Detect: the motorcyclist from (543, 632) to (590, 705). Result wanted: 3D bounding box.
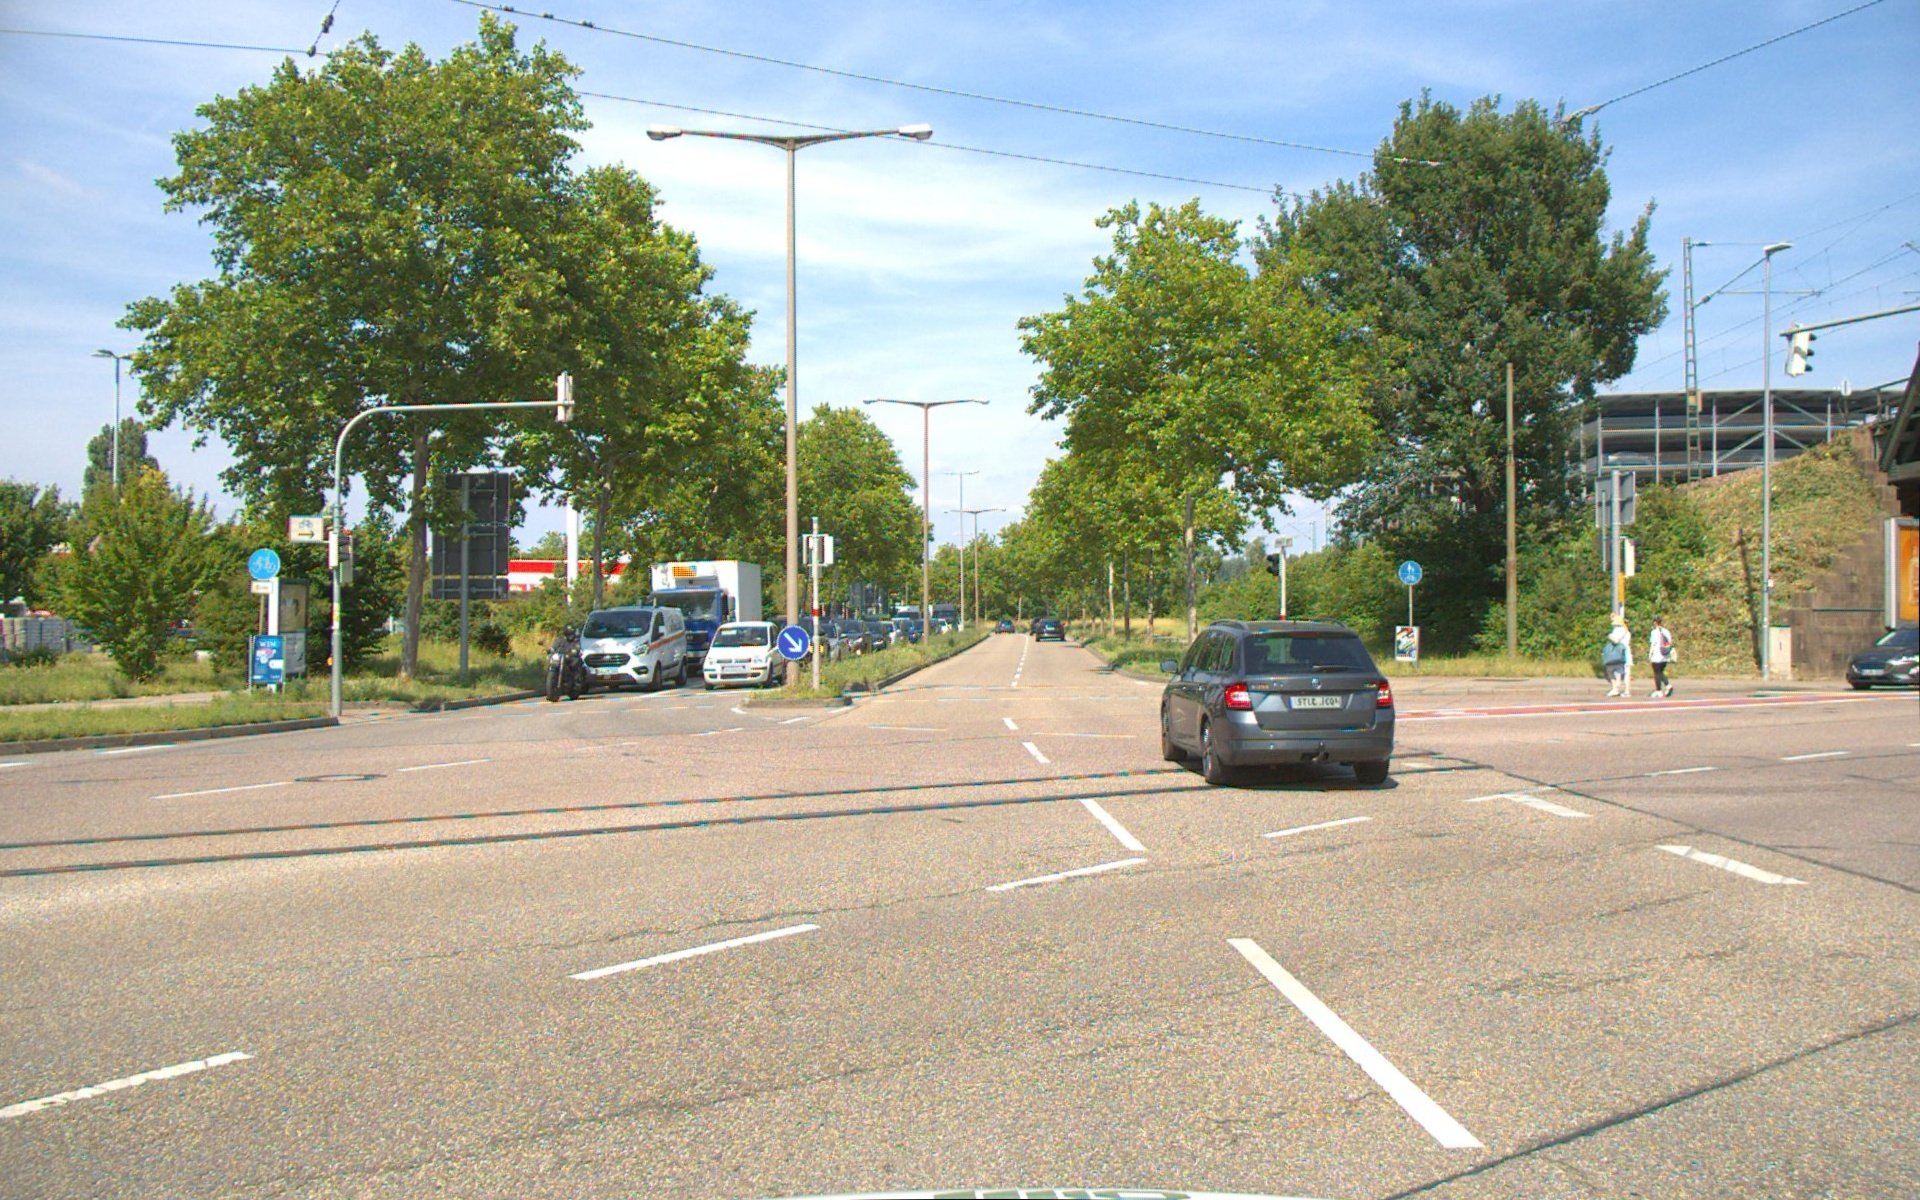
[{"bbox_3d":[-8.259,1.420,34.752,0.727,1.496,0.988,0,-1,2],"label":"motorcyclist"}]

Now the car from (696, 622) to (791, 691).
[{"bbox_3d":[-5.048,1.293,38.953,1.559,1.503,3.730,-1,0,2],"label":"car"}]

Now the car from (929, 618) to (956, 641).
[{"bbox_3d":[-1.220,2.075,118.004,1.654,1.537,3.815,-1,0,2],"label":"car"}]

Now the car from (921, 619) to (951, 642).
[{"bbox_3d":[-1.607,2.036,111.552,1.746,1.484,4.473,-1,0,2],"label":"car"}]

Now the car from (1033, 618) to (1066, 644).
[{"bbox_3d":[5.527,1.894,102.476,1.868,1.489,4.622,0,0,1],"label":"car"}]

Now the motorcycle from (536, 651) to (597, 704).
[{"bbox_3d":[-8.229,1.607,34.662,0.673,1.009,2.218,0,0,2],"label":"motorcycle"}]

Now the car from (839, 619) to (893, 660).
[{"bbox_3d":[-3.691,1.552,65.652,1.654,1.499,4.219,-2,-1,2],"label":"car"}]

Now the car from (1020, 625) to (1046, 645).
[{"bbox_3d":[5.960,2.866,136.043,1.869,1.489,4.581,0,0,-1],"label":"car"}]

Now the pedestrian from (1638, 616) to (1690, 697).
[{"bbox_3d":[14.181,1.123,33.325,0.714,1.607,0.778,0,-1,2],"label":"pedestrian"}]

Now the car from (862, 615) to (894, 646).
[{"bbox_3d":[-5.209,1.962,105.210,1.654,1.891,4.037,-1,-1,2],"label":"car"}]

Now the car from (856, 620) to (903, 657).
[{"bbox_3d":[-3.430,1.645,71.283,1.654,1.497,3.815,-1,0,2],"label":"car"}]

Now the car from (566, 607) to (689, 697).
[{"bbox_3d":[-7.905,1.190,39.824,1.936,2.034,5.031,0,0,0],"label":"car"}]

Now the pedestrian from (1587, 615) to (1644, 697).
[{"bbox_3d":[13.238,1.127,33.410,0.850,1.640,0.778,0,-1,2],"label":"pedestrian"}]

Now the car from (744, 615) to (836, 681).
[{"bbox_3d":[-4.546,1.297,44.866,1.782,1.675,4.695,-1,-2,2],"label":"car"}]

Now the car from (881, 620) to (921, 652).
[{"bbox_3d":[-2.963,1.792,83.974,1.747,1.515,4.212,-1,0,1],"label":"car"}]

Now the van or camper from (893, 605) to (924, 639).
[{"bbox_3d":[-4.118,1.759,132.585,1.973,2.633,5.518,-1,-1,2],"label":"van or camper"}]

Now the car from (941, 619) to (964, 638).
[{"bbox_3d":[-0.635,2.327,134.621,1.654,1.557,3.815,-1,-1,2],"label":"car"}]

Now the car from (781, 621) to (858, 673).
[{"bbox_3d":[-4.345,1.421,51.710,1.759,1.493,4.524,-1,0,3],"label":"car"}]

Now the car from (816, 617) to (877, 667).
[{"bbox_3d":[-3.954,1.451,58.318,1.654,1.614,4.241,-1,0,2],"label":"car"}]

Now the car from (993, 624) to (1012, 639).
[{"bbox_3d":[4.534,3.301,175.454,1.869,1.489,4.581,0,0,-1],"label":"car"}]

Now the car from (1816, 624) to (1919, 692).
[{"bbox_3d":[21.436,1.258,37.254,4.447,1.433,1.976,0,-1,-34],"label":"car"}]

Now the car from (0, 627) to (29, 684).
[{"bbox_3d":[-26.570,1.421,42.081,4.473,1.439,2.198,0,-1,-5],"label":"car"}]

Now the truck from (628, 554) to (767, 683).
[{"bbox_3d":[-7.767,0.535,49.805,2.745,3.532,6.693,-2,0,2],"label":"truck"}]

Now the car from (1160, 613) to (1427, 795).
[{"bbox_3d":[3.048,0.891,15.899,1.640,1.479,4.034,1,0,-2],"label":"car"}]
